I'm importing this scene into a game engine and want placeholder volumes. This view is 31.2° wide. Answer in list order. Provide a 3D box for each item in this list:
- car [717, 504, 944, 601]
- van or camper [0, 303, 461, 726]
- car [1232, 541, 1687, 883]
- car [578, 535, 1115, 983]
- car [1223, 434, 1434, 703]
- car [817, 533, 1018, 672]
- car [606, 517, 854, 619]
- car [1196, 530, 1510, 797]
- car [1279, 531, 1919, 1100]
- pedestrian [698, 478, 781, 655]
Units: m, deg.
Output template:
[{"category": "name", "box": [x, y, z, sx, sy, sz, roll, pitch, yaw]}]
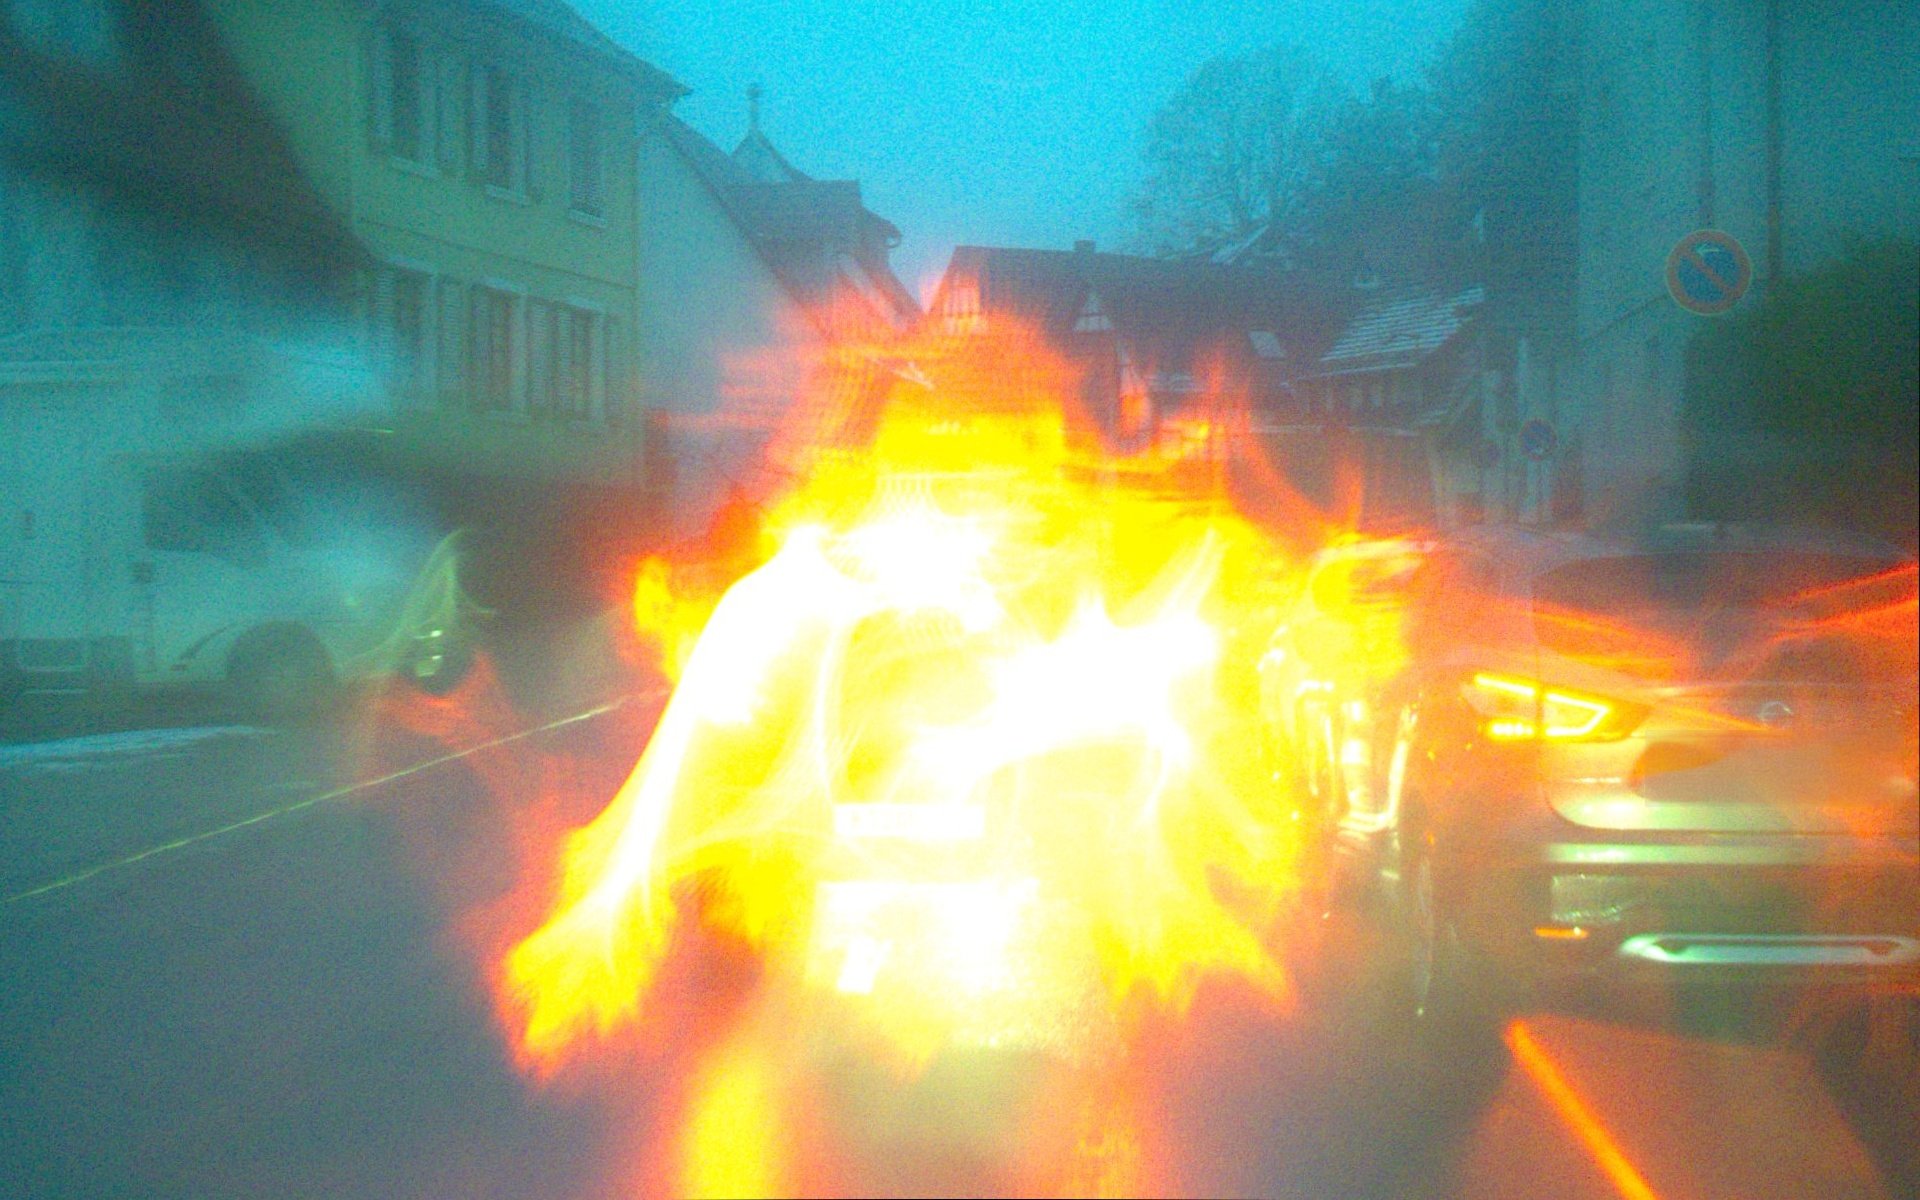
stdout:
[{"category": "car", "box": [-2.078, -0.780, 55.613, 3.508, 1.502, 1.692, 1, 1, 3]}, {"category": "van or camper", "box": [-7.166, -0.565, 26.345, 6.062, 2.945, 2.406, -2, 1, 7]}, {"category": "car", "box": [2.222, 0.434, 16.163, 1.679, 1.390, 3.751, 0, 1, 2]}, {"category": "car", "box": [-0.343, 0.505, 13.714, 1.795, 1.471, 4.000, 1, 1, 1]}, {"category": "car", "box": [3.444, -0.324, 32.696, 1.814, 2.405, 3.751, 0, 1, 3]}, {"category": "car", "box": [-0.399, -0.016, 37.476, 1.868, 1.397, 4.366, 0, 1, 4]}, {"category": "car", "box": [-3.518, -0.509, 52.948, 3.509, 1.502, 1.692, 1, 1, 9]}, {"category": "car", "box": [2.366, 0.324, 21.473, 1.725, 1.502, 3.751, 0, 1, 3]}, {"category": "car", "box": [2.103, 0.548, 11.352, 1.798, 1.529, 4.000, 0, 1, 1]}, {"category": "pedestrian", "box": [-2.532, -0.388, 39.560, 0.873, 2.007, 0.795, 0, 1, 2]}]
